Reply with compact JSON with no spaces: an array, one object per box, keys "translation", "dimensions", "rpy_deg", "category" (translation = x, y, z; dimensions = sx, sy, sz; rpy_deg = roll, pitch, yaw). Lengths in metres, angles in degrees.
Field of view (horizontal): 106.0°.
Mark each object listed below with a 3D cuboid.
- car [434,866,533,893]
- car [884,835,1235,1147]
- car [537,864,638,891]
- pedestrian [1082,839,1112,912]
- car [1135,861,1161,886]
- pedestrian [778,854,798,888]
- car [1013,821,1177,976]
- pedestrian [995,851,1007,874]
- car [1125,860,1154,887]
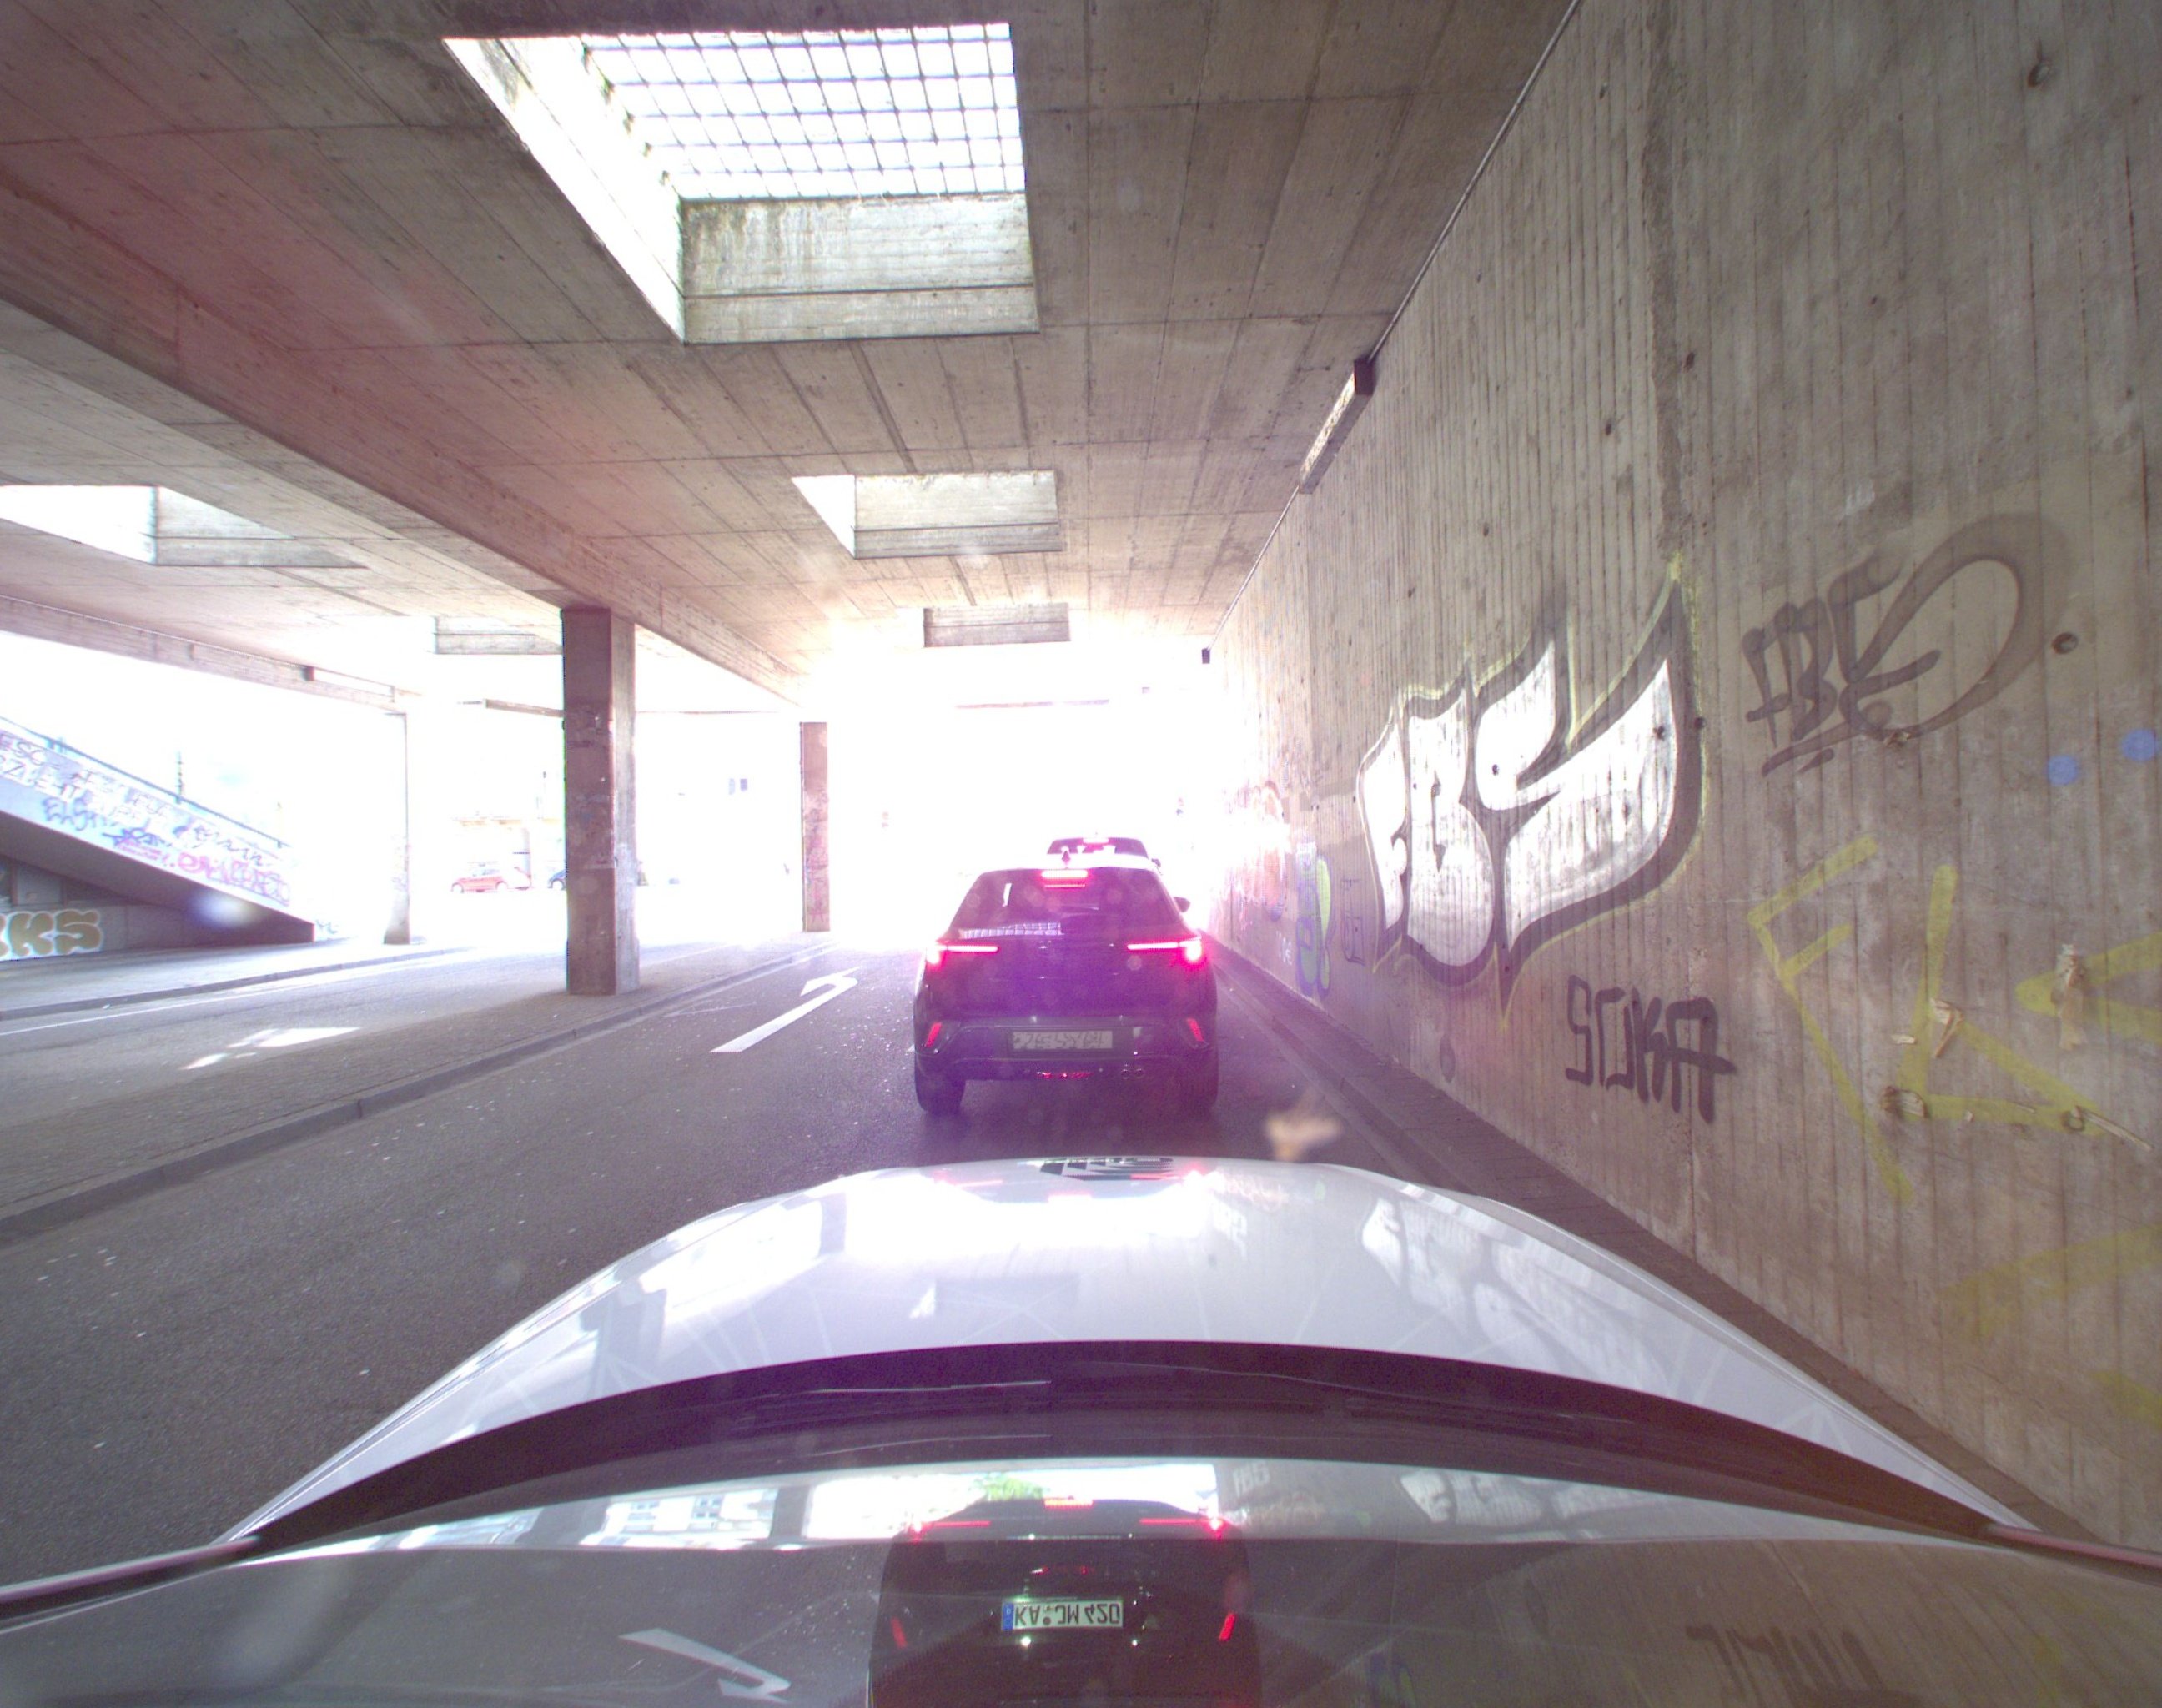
[{"translation":[-33.099,1.406,45.190],"dimensions":[3.975,1.409,1.925],"rpy_deg":[0,-1,-1],"category":"car"},{"translation":[-0.045,0.657,6.111],"dimensions":[1.758,1.571,4.002],"rpy_deg":[0,1,2],"category":"car"},{"translation":[-27.297,1.285,45.132],"dimensions":[4.393,1.409,1.925],"rpy_deg":[0,-1,-1],"category":"car"},{"translation":[0.397,0.522,20.036],"dimensions":[0.728,1.734,0.874],"rpy_deg":[0,-1,1],"category":"pedestrian"},{"translation":[5.685,1.619,68.559],"dimensions":[1.983,1.970,4.172],"rpy_deg":[0,-1,7],"category":"car"},{"translation":[-14.067,0.804,39.074],"dimensions":[0.669,1.637,0.741],"rpy_deg":[0,-1,1],"category":"pedestrian"},{"translation":[0.231,0.546,12.115],"dimensions":[1.986,1.871,4.002],"rpy_deg":[-2,0,2],"category":"car"},{"translation":[-7.361,0.821,74.576],"dimensions":[0.887,2.088,0.810],"rpy_deg":[0,-1,9],"category":"pedestrian"},{"translation":[4.514,1.449,62.383],"dimensions":[1.983,1.970,4.172],"rpy_deg":[0,-1,7],"category":"car"}]
